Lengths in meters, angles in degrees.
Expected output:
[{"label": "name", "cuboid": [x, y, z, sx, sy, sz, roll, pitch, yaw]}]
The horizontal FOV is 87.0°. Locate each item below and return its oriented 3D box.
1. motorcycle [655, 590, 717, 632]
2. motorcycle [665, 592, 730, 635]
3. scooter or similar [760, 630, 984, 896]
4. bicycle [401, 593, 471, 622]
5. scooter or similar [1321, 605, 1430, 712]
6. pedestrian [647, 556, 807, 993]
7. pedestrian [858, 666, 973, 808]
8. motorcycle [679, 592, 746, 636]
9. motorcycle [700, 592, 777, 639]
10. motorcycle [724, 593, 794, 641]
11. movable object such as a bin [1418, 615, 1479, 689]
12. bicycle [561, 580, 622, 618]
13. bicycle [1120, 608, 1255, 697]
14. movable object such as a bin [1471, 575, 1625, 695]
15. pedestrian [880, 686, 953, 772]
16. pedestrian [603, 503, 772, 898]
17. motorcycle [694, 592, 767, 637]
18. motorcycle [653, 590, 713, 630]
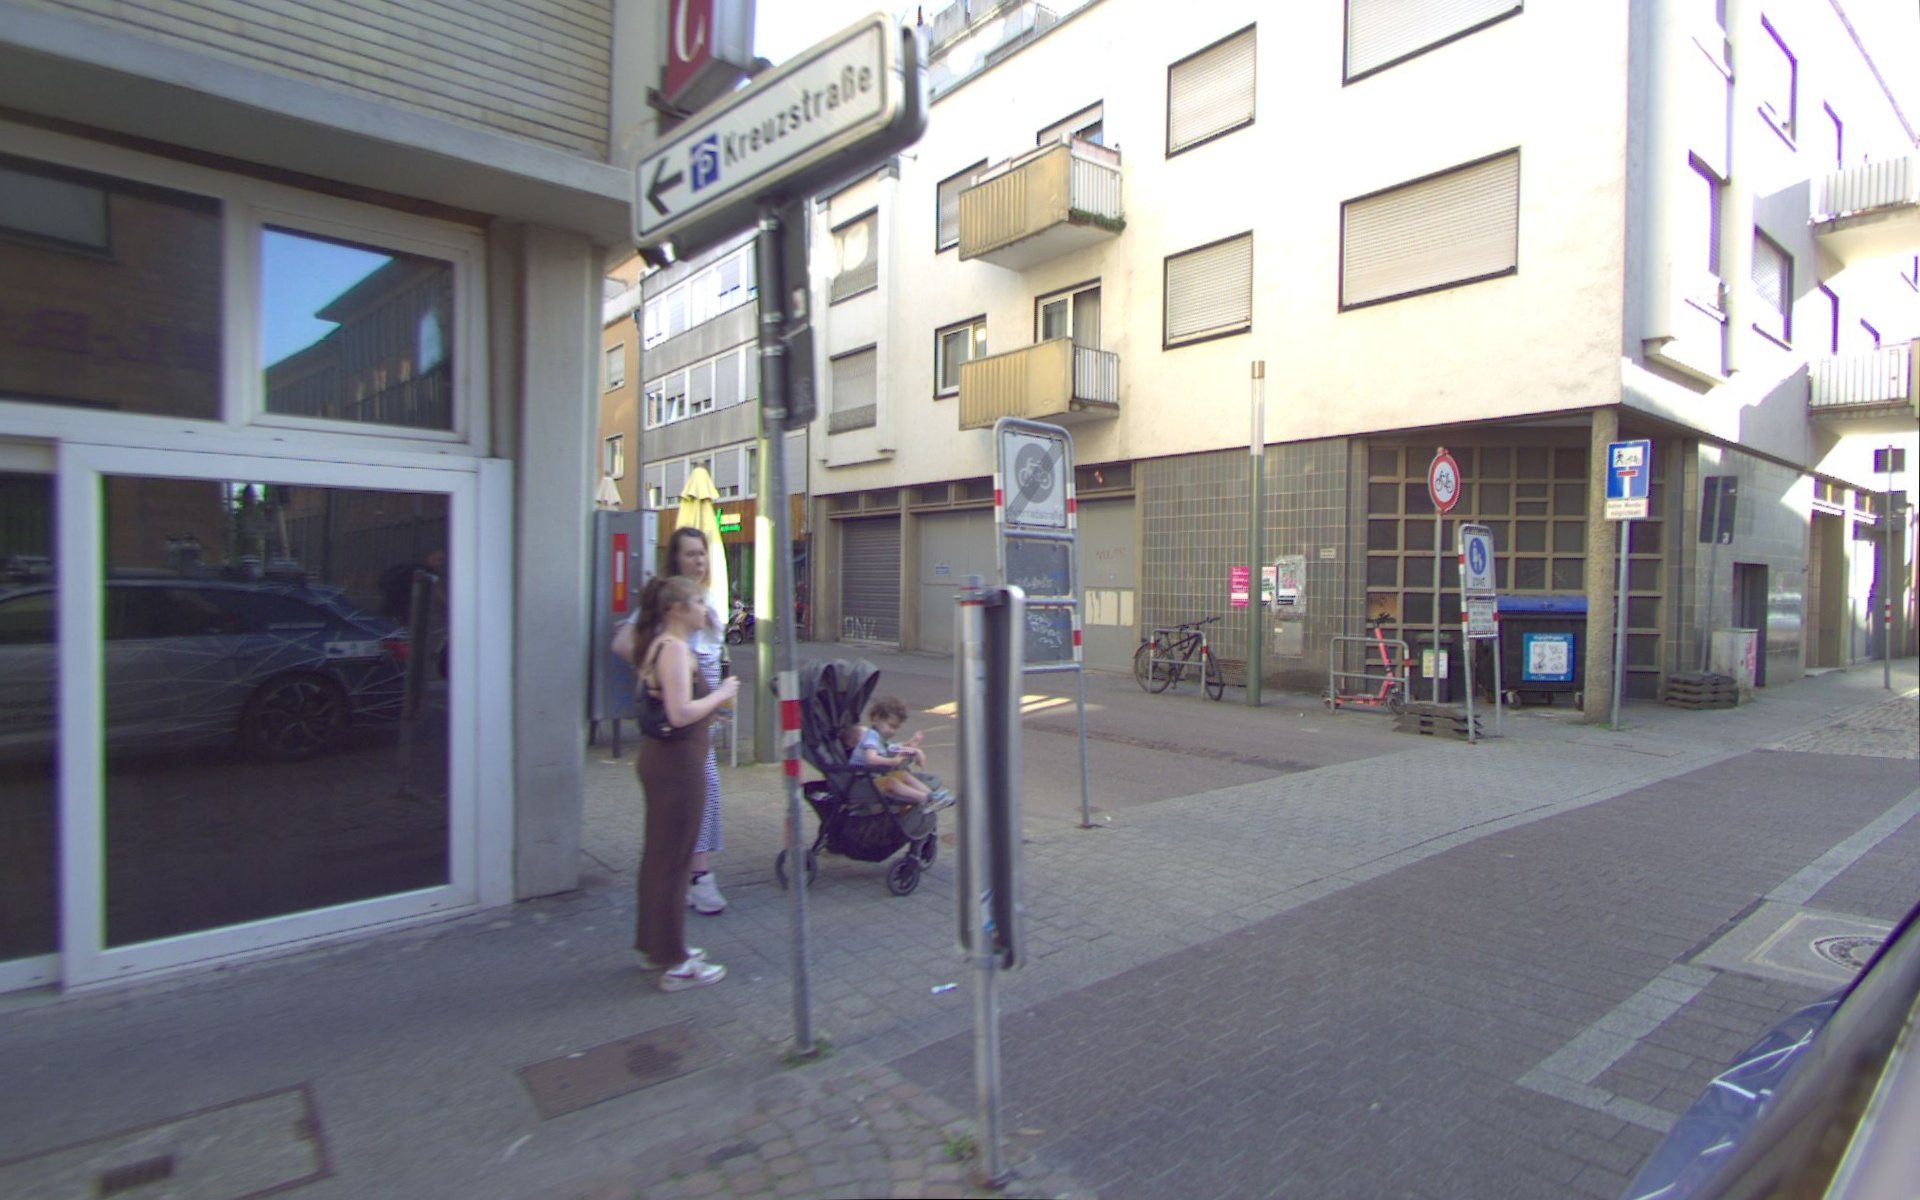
[{"label": "motorcycle", "cuboid": [-7.926, 0.308, 29.268, 1.659, 1.188, 0.513, 0, 0, -34]}, {"label": "motorcycle", "cuboid": [-7.395, 0.367, 28.516, 1.659, 1.188, 0.597, 0, 0, -34]}, {"label": "scooter or similar", "cuboid": [-0.417, 0.795, 5.306, 1.026, 1.191, 0.871, 2, 1, 3]}, {"label": "bicycle", "cuboid": [-18.757, 0.273, 36.255, 2.127, 0.996, 0.816, 1, 0, -36]}, {"label": "scooter or similar", "cuboid": [5.137, 0.695, 12.547, 0.489, 1.238, 1.161, 0, 1, -40]}, {"label": "pedestrian", "cuboid": [-0.928, 0.618, 3.973, 0.432, 1.559, 0.575, 0, 3, -31]}, {"label": "pedestrian", "cuboid": [-0.219, 0.674, 5.085, 0.502, 0.641, 0.330, 0, 1, 17]}, {"label": "motorcycle", "cuboid": [-6.821, 0.371, 27.865, 1.746, 1.188, 0.556, 0, 0, -20]}, {"label": "motorcycle", "cuboid": [-5.742, 0.395, 26.310, 1.864, 1.188, 0.629, 0, 0, 0]}, {"label": "motorcycle", "cuboid": [-5.076, 0.419, 25.528, 1.665, 1.169, 0.794, 0, 0, -16]}, {"label": "movable object such as a bin", "cuboid": [6.600, 0.691, 13.693, 0.587, 0.938, 0.605, 0, 1, 10]}, {"label": "bicycle", "cuboid": [-14.235, -0.039, 39.073, 2.099, 1.368, 0.588, 0, -8, -34]}, {"label": "bicycle", "cuboid": [3.159, 0.700, 14.221, 0.669, 1.141, 1.893, 0, 0, -34]}, {"label": "movable object such as a bin", "cuboid": [7.623, 0.424, 13.212, 1.411, 1.481, 1.126, 0, 1, 10]}, {"label": "pedestrian", "cuboid": [-0.230, 0.684, 5.447, 0.308, 0.403, 0.330, 0, 1, 16]}, {"label": "pedestrian", "cuboid": [-1.276, 0.440, 4.833, 0.611, 1.758, 0.626, 0, 1, 4]}, {"label": "motorcycle", "cuboid": [-6.133, 0.382, 27.101, 1.872, 1.188, 0.544, 0, 0, -6]}, {"label": "motorcycle", "cuboid": [-8.272, 0.291, 30.236, 1.657, 1.188, 0.514, 0, 0, -27]}]
